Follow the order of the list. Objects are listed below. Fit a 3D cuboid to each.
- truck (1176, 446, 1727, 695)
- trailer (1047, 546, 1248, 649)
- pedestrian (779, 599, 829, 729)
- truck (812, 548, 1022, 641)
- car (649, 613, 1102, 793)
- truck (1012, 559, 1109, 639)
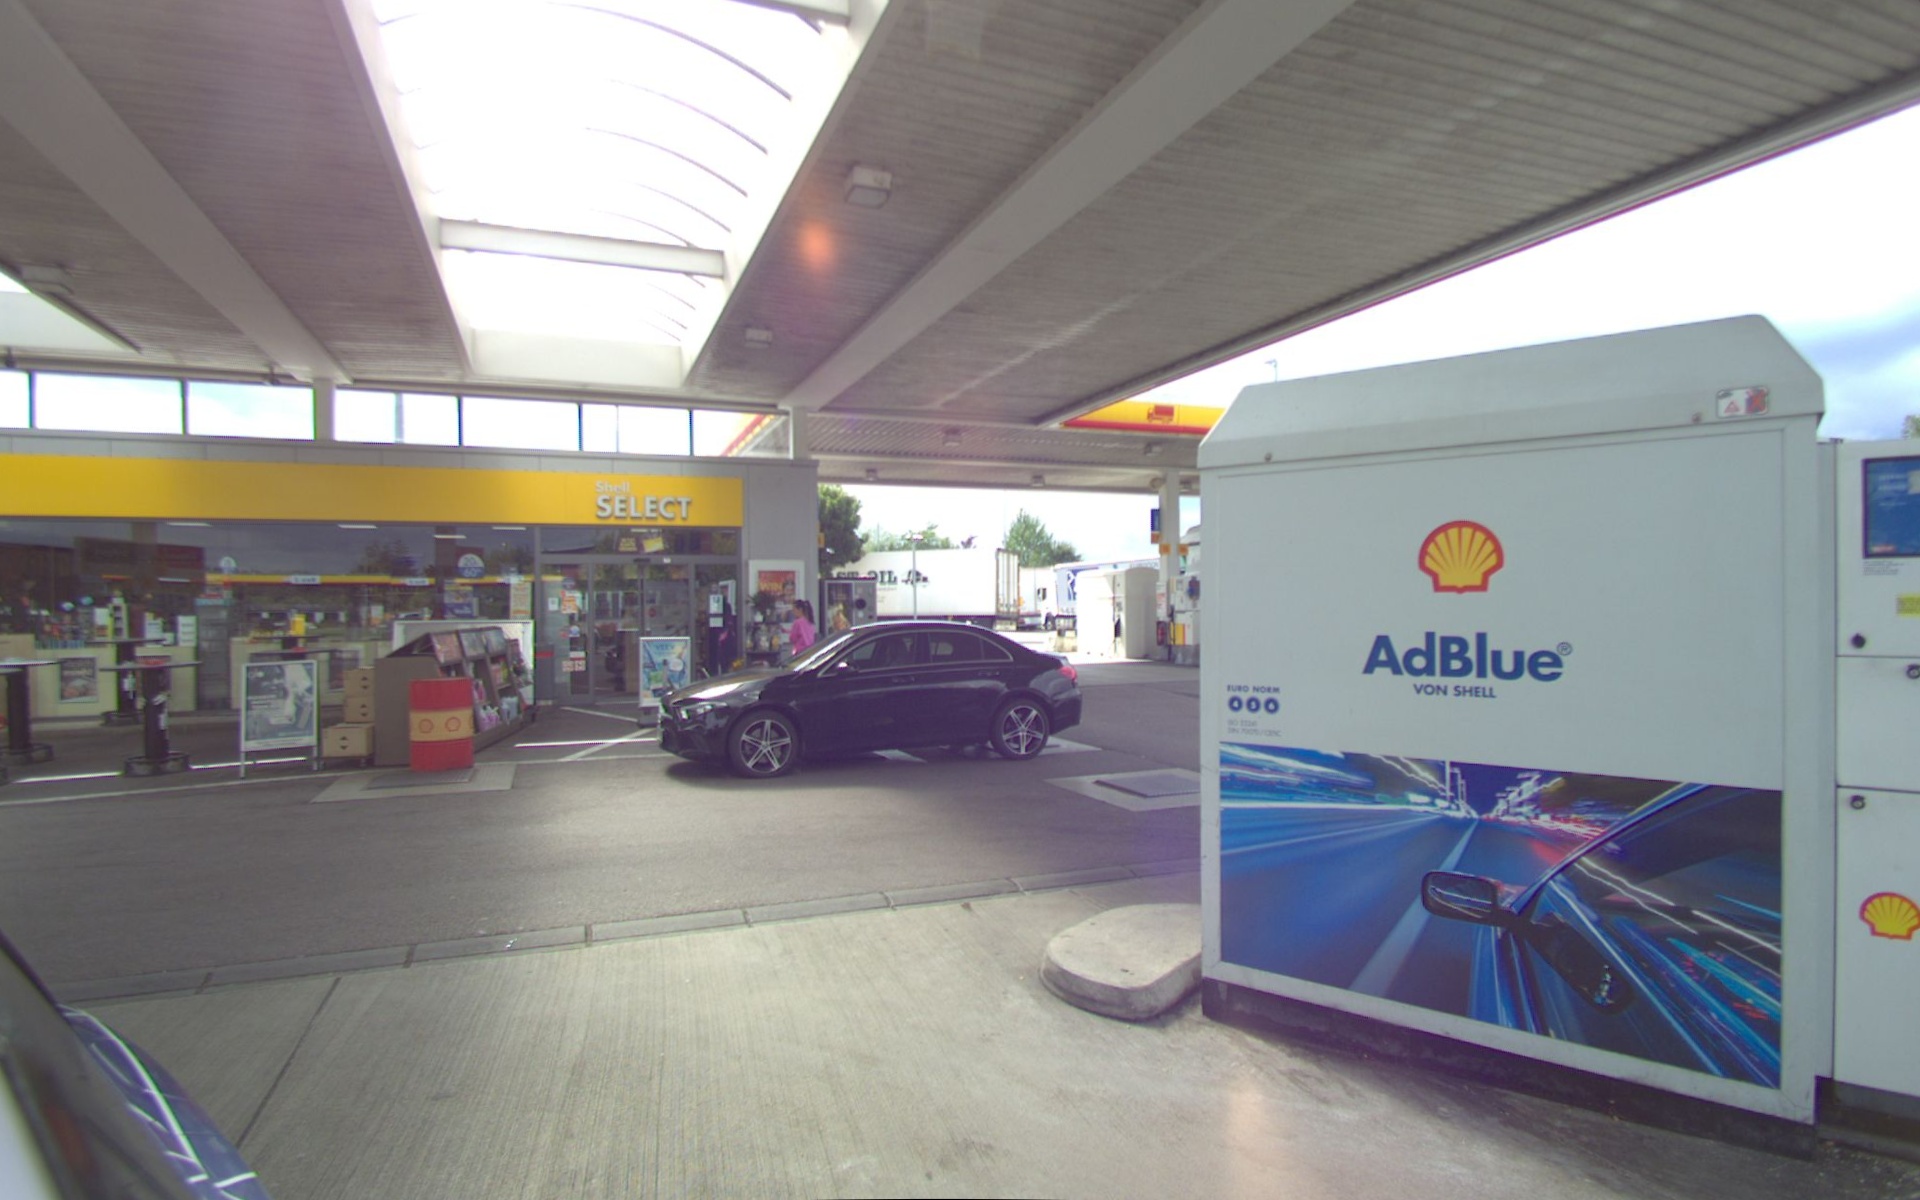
[{"bbox_3d":[9.685,-0.471,23.064,2.491,4.069,12.947,-1,0,-22],"label":"truck"},{"bbox_3d":[9.136,-0.108,52.636,3.294,4.600,14.397,-1,0,-20],"label":"trailer"},{"bbox_3d":[-2.143,0.853,13.856,0.612,1.726,0.629,-1,0,-13],"label":"pedestrian"},{"bbox_3d":[-2.072,-0.188,46.803,9.536,4.036,2.772,-1,0,25],"label":"truck"},{"bbox_3d":[-0.897,0.937,10.640,4.394,1.511,1.785,-1,0,-21],"label":"car"},{"bbox_3d":[5.959,-0.058,61.184,3.333,4.538,6.249,-1,0,-20],"label":"truck"}]
